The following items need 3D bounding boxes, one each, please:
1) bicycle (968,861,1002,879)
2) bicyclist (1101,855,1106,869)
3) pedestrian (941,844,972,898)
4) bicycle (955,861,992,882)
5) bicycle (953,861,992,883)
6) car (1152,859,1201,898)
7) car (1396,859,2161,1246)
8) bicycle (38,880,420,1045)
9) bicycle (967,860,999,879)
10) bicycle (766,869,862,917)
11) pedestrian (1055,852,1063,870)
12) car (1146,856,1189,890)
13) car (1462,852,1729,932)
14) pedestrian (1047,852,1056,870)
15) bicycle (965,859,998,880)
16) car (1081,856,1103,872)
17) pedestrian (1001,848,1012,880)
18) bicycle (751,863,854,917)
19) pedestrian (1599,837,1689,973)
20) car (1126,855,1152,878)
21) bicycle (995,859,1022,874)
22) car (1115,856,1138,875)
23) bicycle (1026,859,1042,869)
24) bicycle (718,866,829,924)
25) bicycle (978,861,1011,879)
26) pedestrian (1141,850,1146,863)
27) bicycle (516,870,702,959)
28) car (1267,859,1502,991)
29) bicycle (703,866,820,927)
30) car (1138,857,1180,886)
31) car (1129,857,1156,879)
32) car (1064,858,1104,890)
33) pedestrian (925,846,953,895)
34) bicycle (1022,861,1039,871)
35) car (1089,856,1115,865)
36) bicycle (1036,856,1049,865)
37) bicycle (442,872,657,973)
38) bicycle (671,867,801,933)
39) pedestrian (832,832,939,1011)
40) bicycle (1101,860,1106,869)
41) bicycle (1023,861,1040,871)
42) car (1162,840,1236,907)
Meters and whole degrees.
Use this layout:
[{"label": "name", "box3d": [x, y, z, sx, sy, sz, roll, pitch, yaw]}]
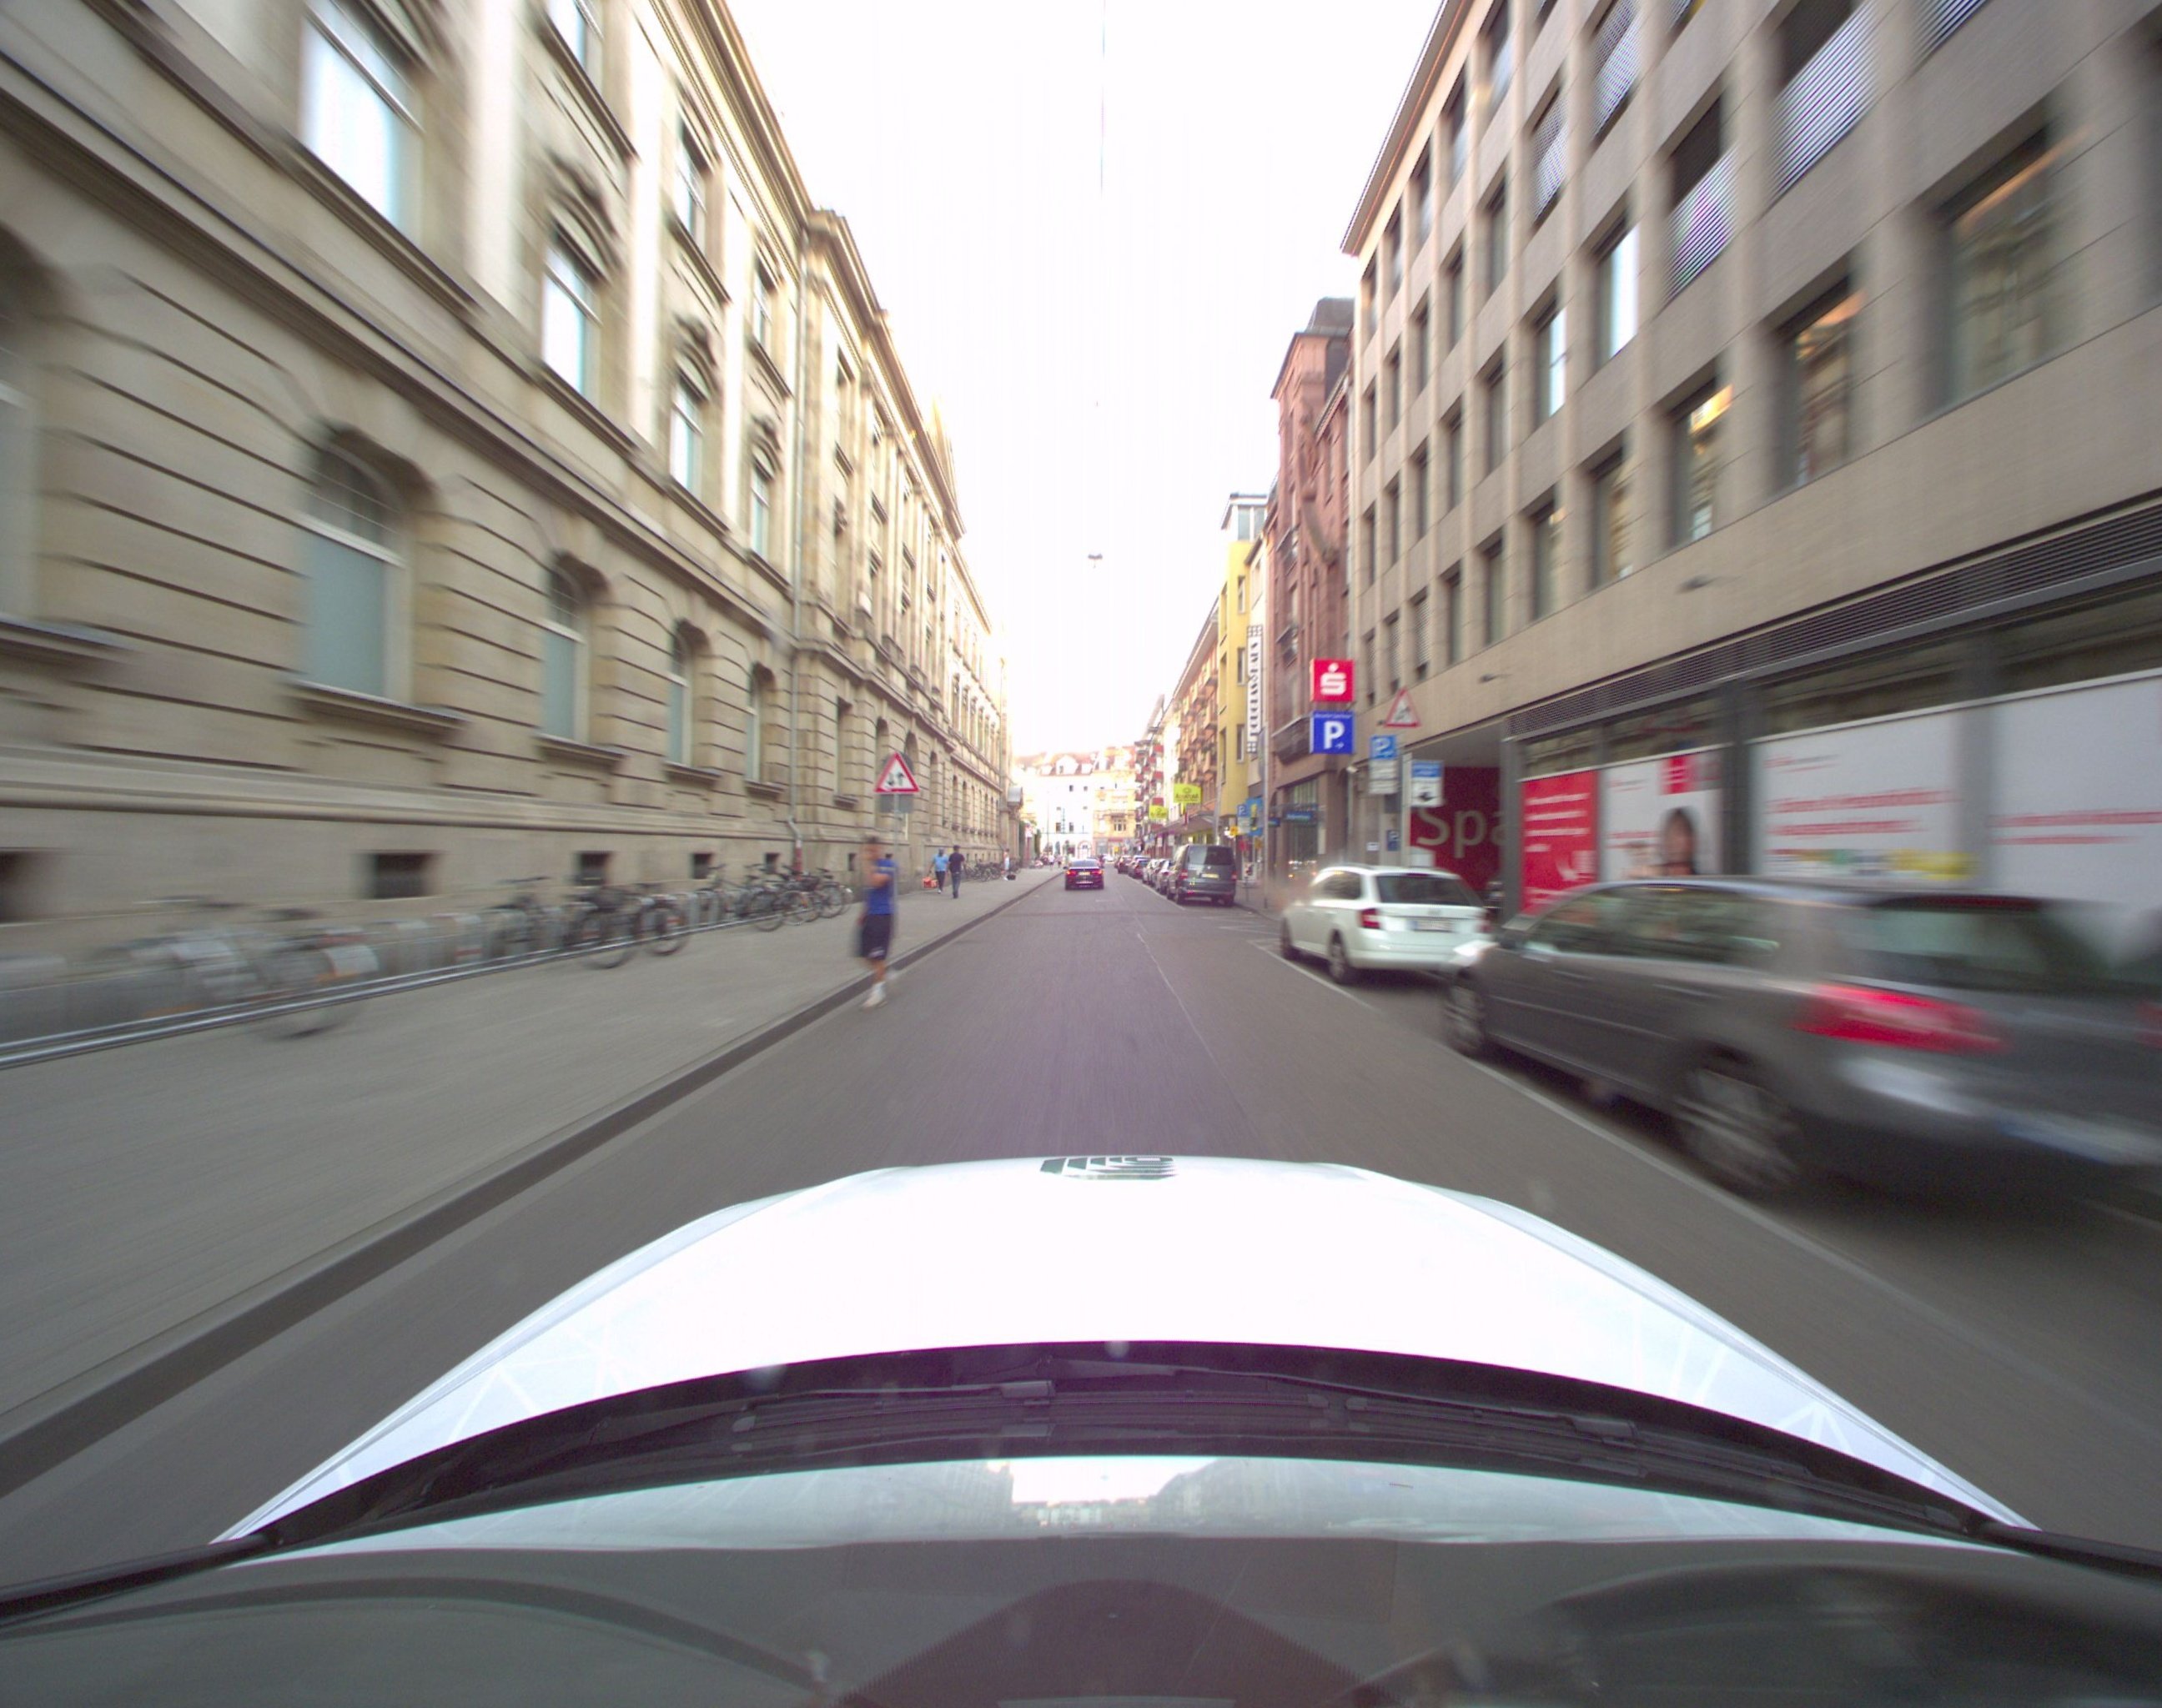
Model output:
[{"label": "bicycle", "box3d": [-5.702, 0.952, 48.478, 1.934, 1.061, 0.618, 2, -1, -6]}, {"label": "bicyclist", "box3d": [2.844, 0.976, 103.466, 0.521, 1.756, 0.620, 1, -1, 2]}, {"label": "pedestrian", "box3d": [-4.118, 0.564, 27.040, 0.806, 1.750, 0.969, 1, -1, 1]}, {"label": "bicycle", "box3d": [-5.805, 0.948, 44.245, 1.934, 1.061, 0.618, 2, -1, -6]}, {"label": "bicycle", "box3d": [-5.704, 0.952, 42.996, 1.931, 1.061, 0.619, 2, -1, -1]}, {"label": "car", "box3d": [4.074, 0.998, 35.316, 1.680, 1.453, 4.500, 2, 0, 2]}, {"label": "car", "box3d": [3.776, 0.785, 5.321, 1.652, 1.448, 4.443, 1, -1, -1]}, {"label": "bicycle", "box3d": [-6.238, 0.776, 6.062, 1.933, 1.078, 0.729, 2, -1, -4]}, {"label": "bicycle", "box3d": [-5.719, 0.911, 47.664, 1.791, 1.108, 0.499, 2, -1, -6]}, {"label": "bicycle", "box3d": [-6.092, 0.885, 18.639, 1.931, 1.046, 0.721, 1, 0, -4]}, {"label": "pedestrian", "box3d": [-2.278, 0.714, 85.323, 0.741, 1.893, 1.051, 1, 0, 1]}, {"label": "car", "box3d": [4.253, 0.910, 40.430, 1.613, 1.516, 4.172, 2, 0, 0]}, {"label": "car", "box3d": [10.548, 0.769, 16.934, 4.389, 1.501, 1.916, 1, -1, -1]}, {"label": "pedestrian", "box3d": [-3.089, 0.736, 85.104, 0.739, 1.813, 1.009, 2, 0, 0]}, {"label": "bicycle", "box3d": [-5.684, 0.887, 46.465, 1.791, 1.108, 0.499, 2, -1, -6]}, {"label": "car", "box3d": [1.055, 0.968, 79.595, 1.869, 1.473, 4.005, 0, 0, 5]}, {"label": "pedestrian", "box3d": [-4.355, 0.567, 47.729, 0.587, 1.851, 0.753, 2, 0, -5]}, {"label": "bicycle", "box3d": [-6.027, 0.768, 17.721, 1.931, 1.078, 0.748, 2, -1, -1]}, {"label": "pedestrian", "box3d": [7.066, 0.620, 10.246, 0.646, 1.636, 0.650, -2, 0, -1]}, {"label": "car", "box3d": [4.469, 0.953, 63.424, 1.746, 1.668, 4.758, 2, 0, 1]}, {"label": "bicycle", "box3d": [-5.579, 0.947, 62.386, 1.940, 1.061, 0.617, 3, -1, -15]}, {"label": "car", "box3d": [4.097, 0.990, 72.672, 1.786, 1.610, 4.493, 2, 0, 5]}, {"label": "bicycle", "box3d": [-5.419, 1.157, 93.328, 1.786, 1.107, 0.500, 1, 0, 3]}, {"label": "bicycle", "box3d": [-6.176, 0.823, 16.454, 1.935, 1.078, 0.728, 2, -1, -7]}, {"label": "bicycle", "box3d": [-5.258, 0.980, 49.520, 1.932, 1.061, 0.619, 2, -1, -2]}, {"label": "pedestrian", "box3d": [8.271, 0.334, 107.597, 0.645, 1.661, 0.794, -3, -1, 2]}, {"label": "bicycle", "box3d": [-6.175, 0.784, 10.743, 1.935, 1.078, 0.728, 2, -1, -7]}, {"label": "car", "box3d": [3.903, 0.818, 11.295, 1.651, 1.448, 4.307, 1, -1, 0]}, {"label": "bicycle", "box3d": [-6.117, 0.813, 15.682, 1.935, 1.078, 0.728, 2, -1, -7]}, {"label": "car", "box3d": [4.321, 0.947, 45.602, 1.687, 1.411, 4.635, 2, 0, -2]}, {"label": "car", "box3d": [4.367, 0.963, 58.455, 1.685, 1.415, 4.758, 2, 0, 1]}, {"label": "car", "box3d": [0.197, 0.920, 39.053, 1.758, 1.375, 4.792, 1, 0, 1]}, {"label": "pedestrian", "box3d": [-5.267, 0.612, 30.180, 0.826, 1.746, 0.769, 2, 0, 1]}, {"label": "bicycle", "box3d": [-5.634, 1.301, 91.151, 1.789, 1.107, 0.500, 0, 0, -1]}, {"label": "car", "box3d": [3.772, 1.141, 146.144, 4.313, 1.562, 1.879, -1, -1, 23]}, {"label": "bicycle", "box3d": [-5.252, 0.872, 110.890, 1.791, 1.107, 0.499, 2, 0, -5]}, {"label": "bicycle", "box3d": [-6.175, 0.784, 9.554, 1.935, 1.078, 0.728, 2, -1, -7]}, {"label": "bicycle", "box3d": [-6.050, 0.801, 14.367, 1.935, 1.078, 0.728, 2, -1, -7]}, {"label": "pedestrian", "box3d": [-2.090, 0.676, 8.697, 0.825, 1.789, 0.769, -1, 0, -41]}, {"label": "bicycle", "box3d": [2.839, 1.348, 103.485, 0.534, 1.107, 1.801, 1, 0, 2]}, {"label": "bicycle", "box3d": [-5.510, 1.297, 90.805, 1.788, 1.107, 0.500, 0, 0, 0]}, {"label": "car", "box3d": [3.971, 0.648, 28.229, 1.840, 2.058, 5.053, 1, -1, 0]}]
